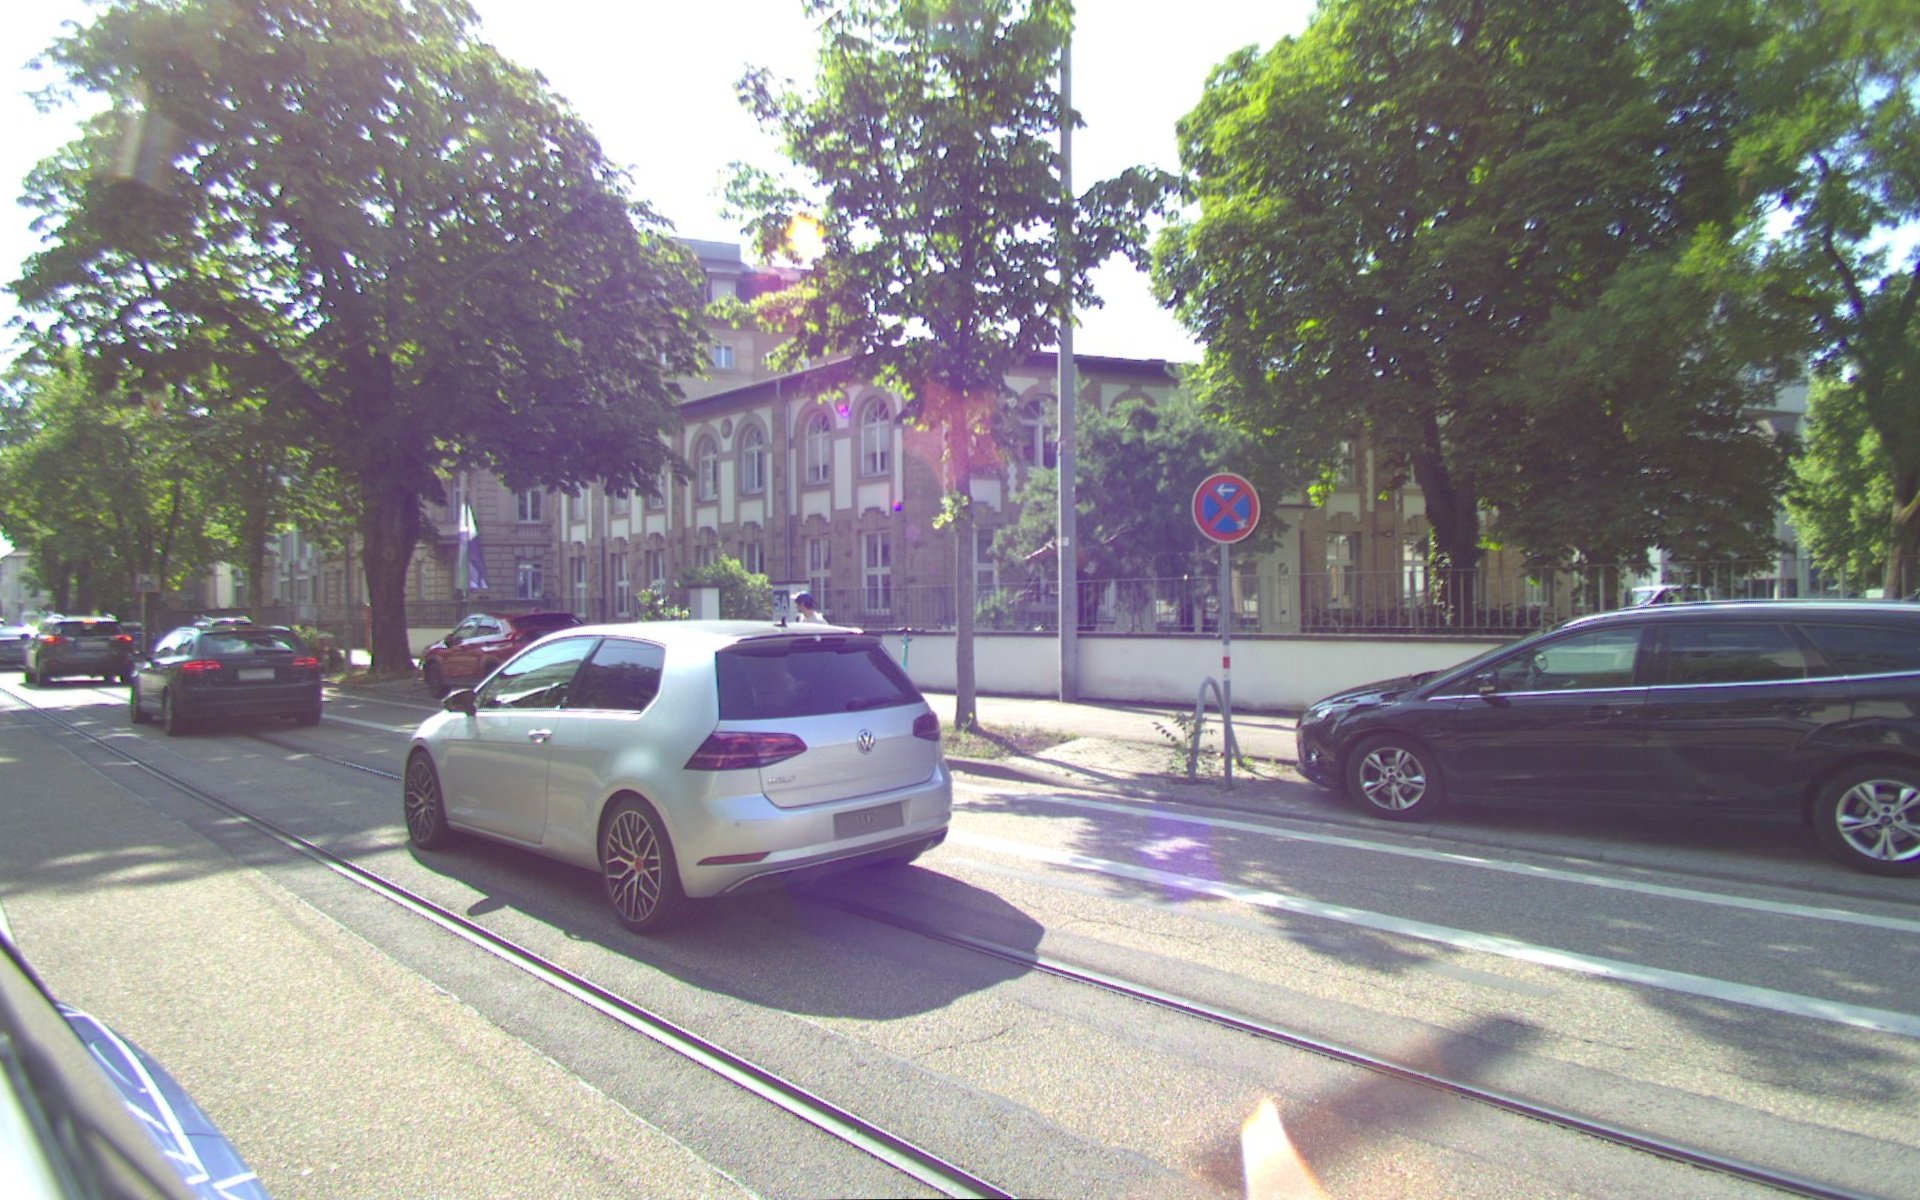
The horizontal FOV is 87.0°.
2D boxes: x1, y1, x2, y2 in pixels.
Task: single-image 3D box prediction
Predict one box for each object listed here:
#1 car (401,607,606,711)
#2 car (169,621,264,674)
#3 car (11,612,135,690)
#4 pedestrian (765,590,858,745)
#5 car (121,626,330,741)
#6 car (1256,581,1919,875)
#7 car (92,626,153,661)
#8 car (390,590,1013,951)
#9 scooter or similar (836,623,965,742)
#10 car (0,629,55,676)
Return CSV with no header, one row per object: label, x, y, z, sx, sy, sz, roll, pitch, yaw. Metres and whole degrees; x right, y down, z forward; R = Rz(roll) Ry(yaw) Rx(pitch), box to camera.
car,-8.742,1.024,19.186,4.719,1.678,1.732,-1,1,42
car,-25.751,1.598,35.000,4.330,1.653,1.787,-1,1,42
car,-21.846,1.255,24.874,4.390,1.740,1.806,-3,-3,42
pedestrian,-1.799,0.787,12.285,0.750,1.780,0.782,-1,1,33
car,-10.539,1.073,14.409,4.001,1.386,1.704,-1,-2,44
car,4.566,0.682,6.863,4.588,1.527,1.732,-1,1,40
car,-39.305,2.014,47.467,3.807,1.496,1.637,-1,1,42
car,-1.725,0.709,5.975,3.851,1.427,1.754,-1,-1,42
scooter or similar,-0.705,0.954,12.245,0.854,1.289,1.325,-1,1,41
car,-30.075,1.607,31.942,4.425,1.399,1.780,-2,-3,42
